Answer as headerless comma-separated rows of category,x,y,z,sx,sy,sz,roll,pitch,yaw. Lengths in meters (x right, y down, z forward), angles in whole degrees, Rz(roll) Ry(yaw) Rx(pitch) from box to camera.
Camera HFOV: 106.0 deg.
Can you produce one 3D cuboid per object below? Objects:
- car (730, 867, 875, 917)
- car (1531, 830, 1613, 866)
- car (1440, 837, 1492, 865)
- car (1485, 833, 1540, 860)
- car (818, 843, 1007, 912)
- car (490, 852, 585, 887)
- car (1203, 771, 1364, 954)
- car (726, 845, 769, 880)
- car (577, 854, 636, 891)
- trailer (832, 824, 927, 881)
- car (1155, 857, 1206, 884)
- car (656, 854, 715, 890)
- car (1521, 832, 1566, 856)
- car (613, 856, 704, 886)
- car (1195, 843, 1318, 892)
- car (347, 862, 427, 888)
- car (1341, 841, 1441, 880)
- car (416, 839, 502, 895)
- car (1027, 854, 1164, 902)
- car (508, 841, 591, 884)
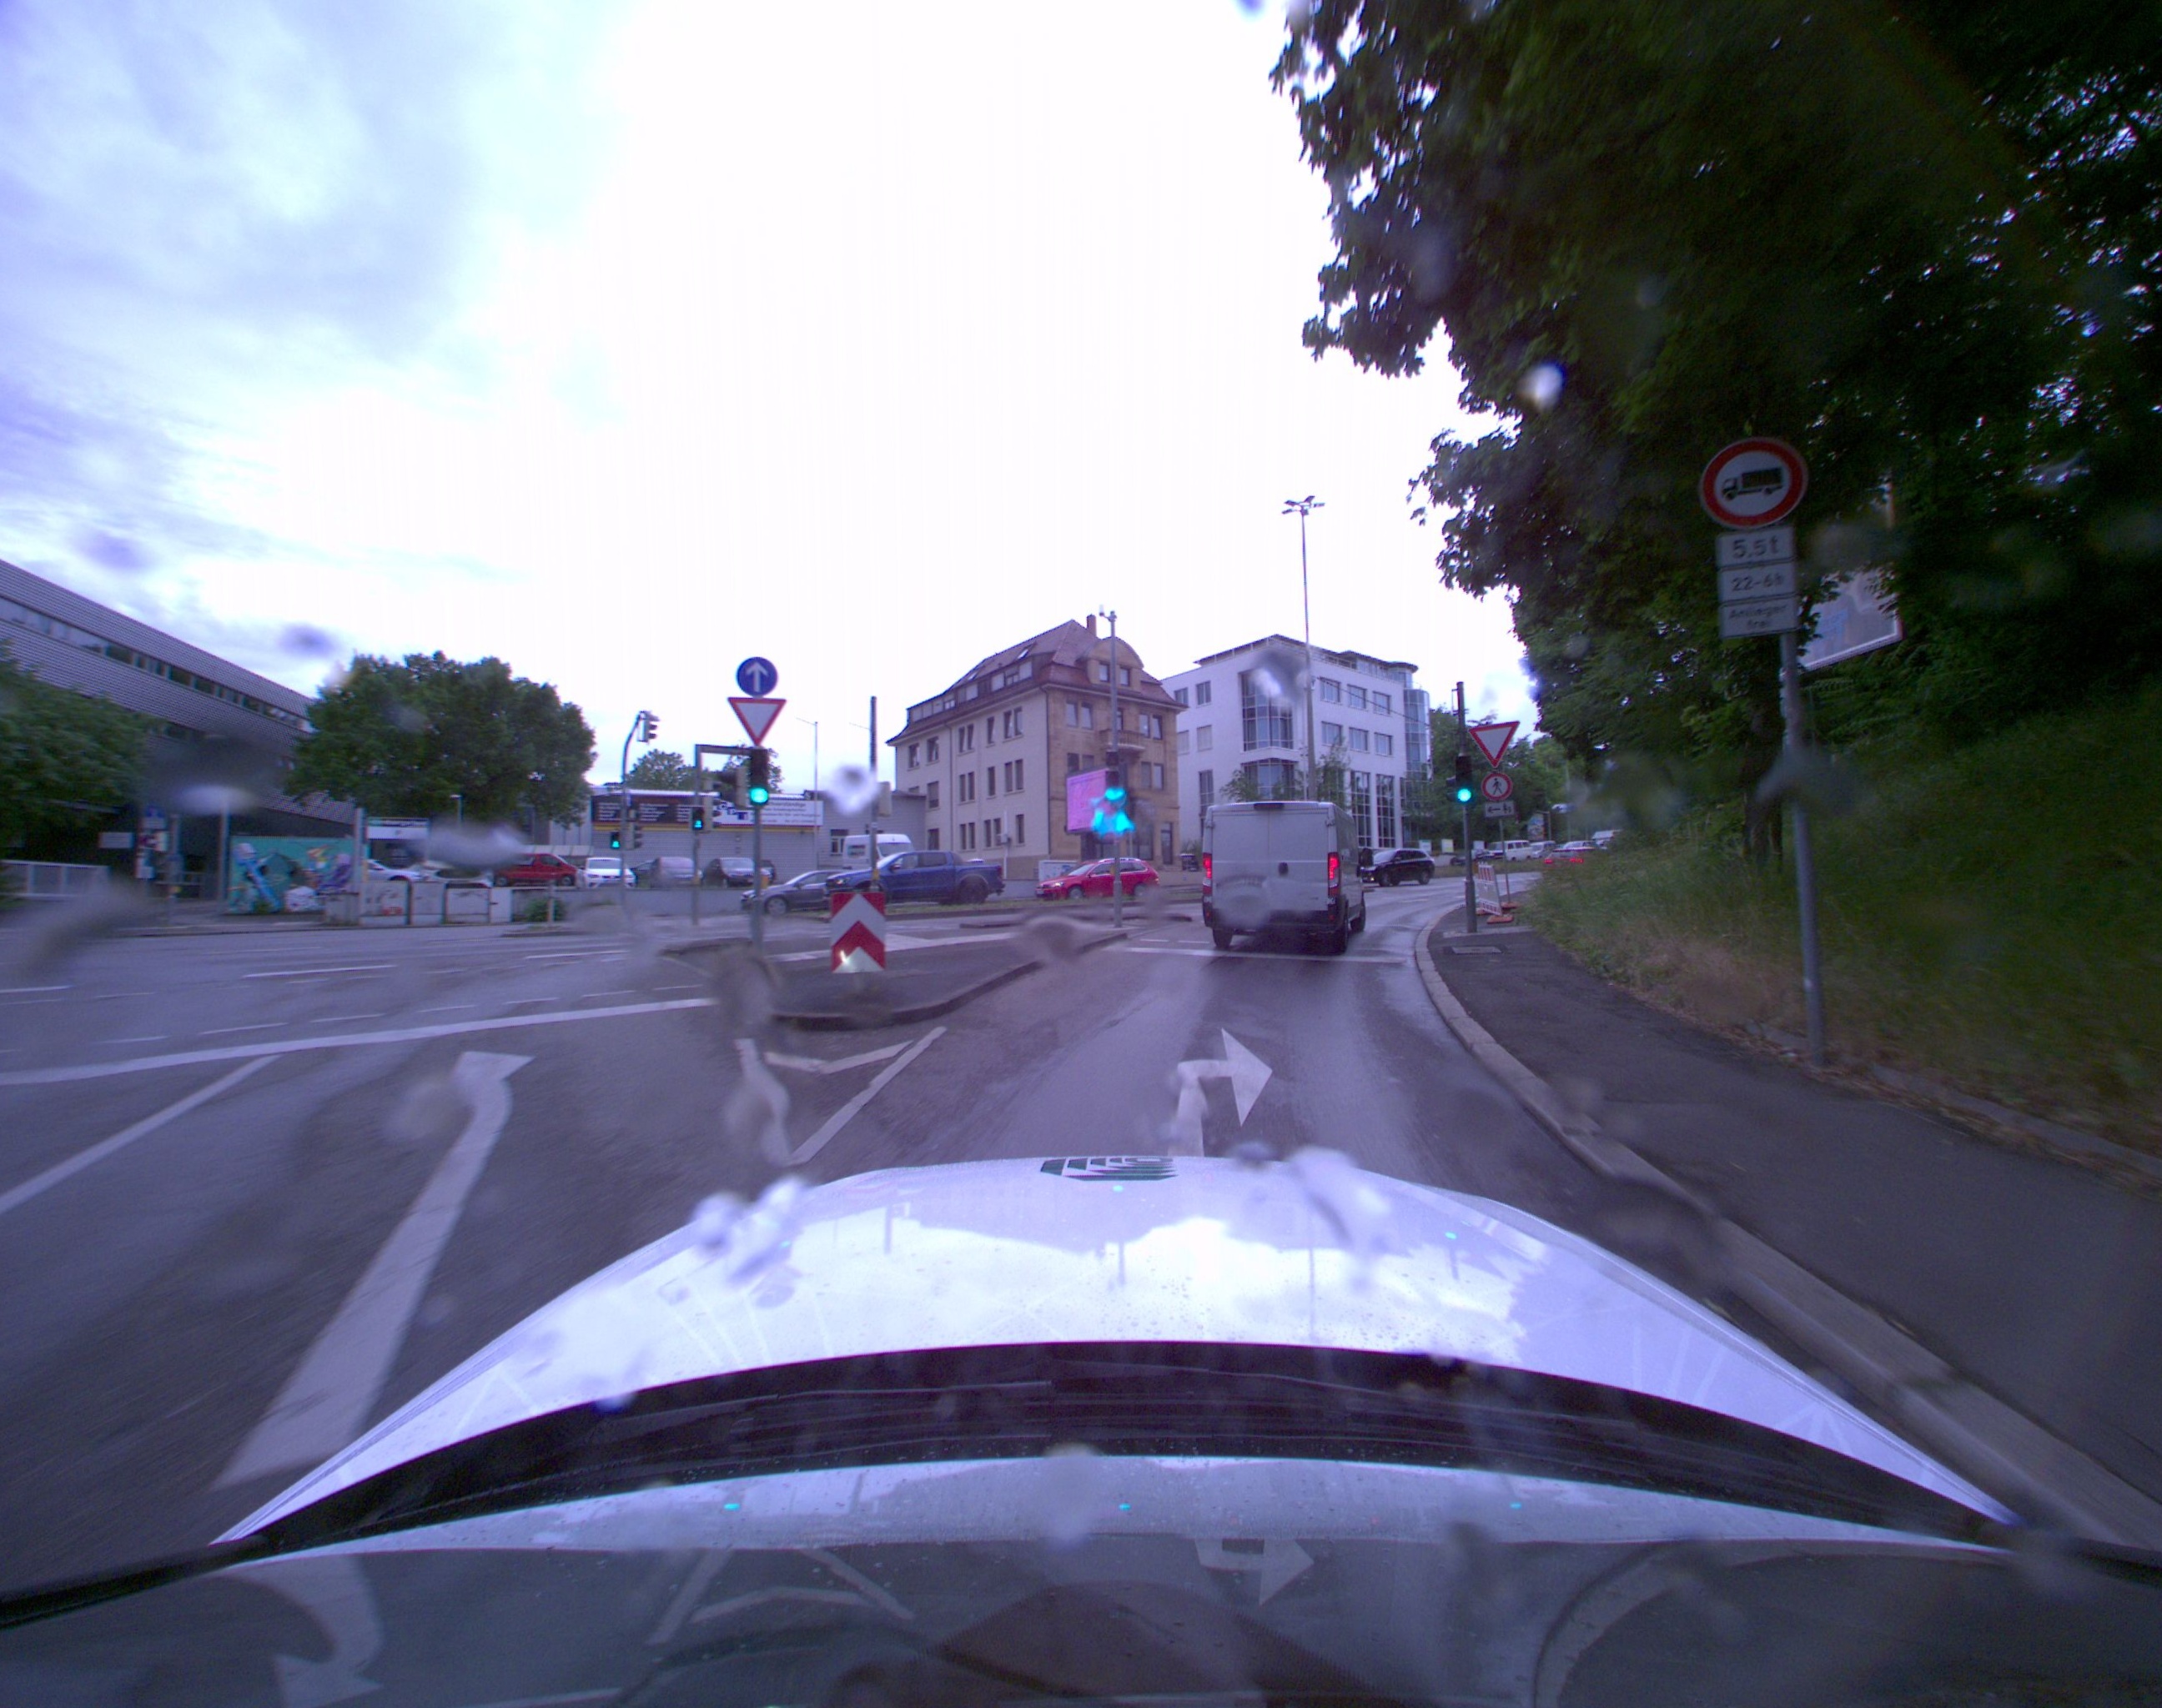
car,-8.804,1.194,25.861,4.086,1.459,1.530,1,-4,-34
car,20.921,-0.232,34.697,3.380,1.426,1.681,0,-2,-34
car,27.837,-0.212,58.852,4.012,1.722,1.597,-3,-2,-36
car,33.151,-0.594,62.541,4.604,1.746,1.756,-3,-2,-36
car,-5.020,0.688,24.571,5.189,1.819,1.920,-1,-3,-33
car,-31.045,0.879,46.664,4.320,1.861,1.725,0,-3,-27
car,3.642,0.074,13.868,2.032,2.516,4.970,0,1,21
car,-14.286,0.352,34.870,1.232,1.424,2.659,0,0,-33
car,-19.200,0.712,32.869,1.880,1.369,3.585,0,0,-33
trailer,-10.363,0.034,41.364,2.405,2.429,7.043,1,-4,-34
car,6.636,1.118,54.563,1.724,1.676,3.017,1,-4,-38
car,-16.261,0.711,33.443,1.748,1.369,3.585,0,0,-33
car,37.231,-0.815,65.527,3.798,1.696,1.579,-3,-2,-36
car,-23.380,0.937,45.219,4.345,1.406,1.362,-2,-3,-23
car,6.944,0.521,32.026,4.643,1.697,1.941,-2,-2,-33
car,-31.656,0.950,37.218,2.735,1.105,1.184,1,-4,-38
car,13.822,0.302,36.165,4.747,1.605,1.676,0,-4,-34
car,-23.160,0.541,30.225,2.232,1.802,5.308,1,-4,-41
car,0.522,0.819,27.913,4.459,1.531,1.793,0,-4,-34
car,-32.385,0.524,49.753,3.995,2.498,1.639,0,-3,-27
